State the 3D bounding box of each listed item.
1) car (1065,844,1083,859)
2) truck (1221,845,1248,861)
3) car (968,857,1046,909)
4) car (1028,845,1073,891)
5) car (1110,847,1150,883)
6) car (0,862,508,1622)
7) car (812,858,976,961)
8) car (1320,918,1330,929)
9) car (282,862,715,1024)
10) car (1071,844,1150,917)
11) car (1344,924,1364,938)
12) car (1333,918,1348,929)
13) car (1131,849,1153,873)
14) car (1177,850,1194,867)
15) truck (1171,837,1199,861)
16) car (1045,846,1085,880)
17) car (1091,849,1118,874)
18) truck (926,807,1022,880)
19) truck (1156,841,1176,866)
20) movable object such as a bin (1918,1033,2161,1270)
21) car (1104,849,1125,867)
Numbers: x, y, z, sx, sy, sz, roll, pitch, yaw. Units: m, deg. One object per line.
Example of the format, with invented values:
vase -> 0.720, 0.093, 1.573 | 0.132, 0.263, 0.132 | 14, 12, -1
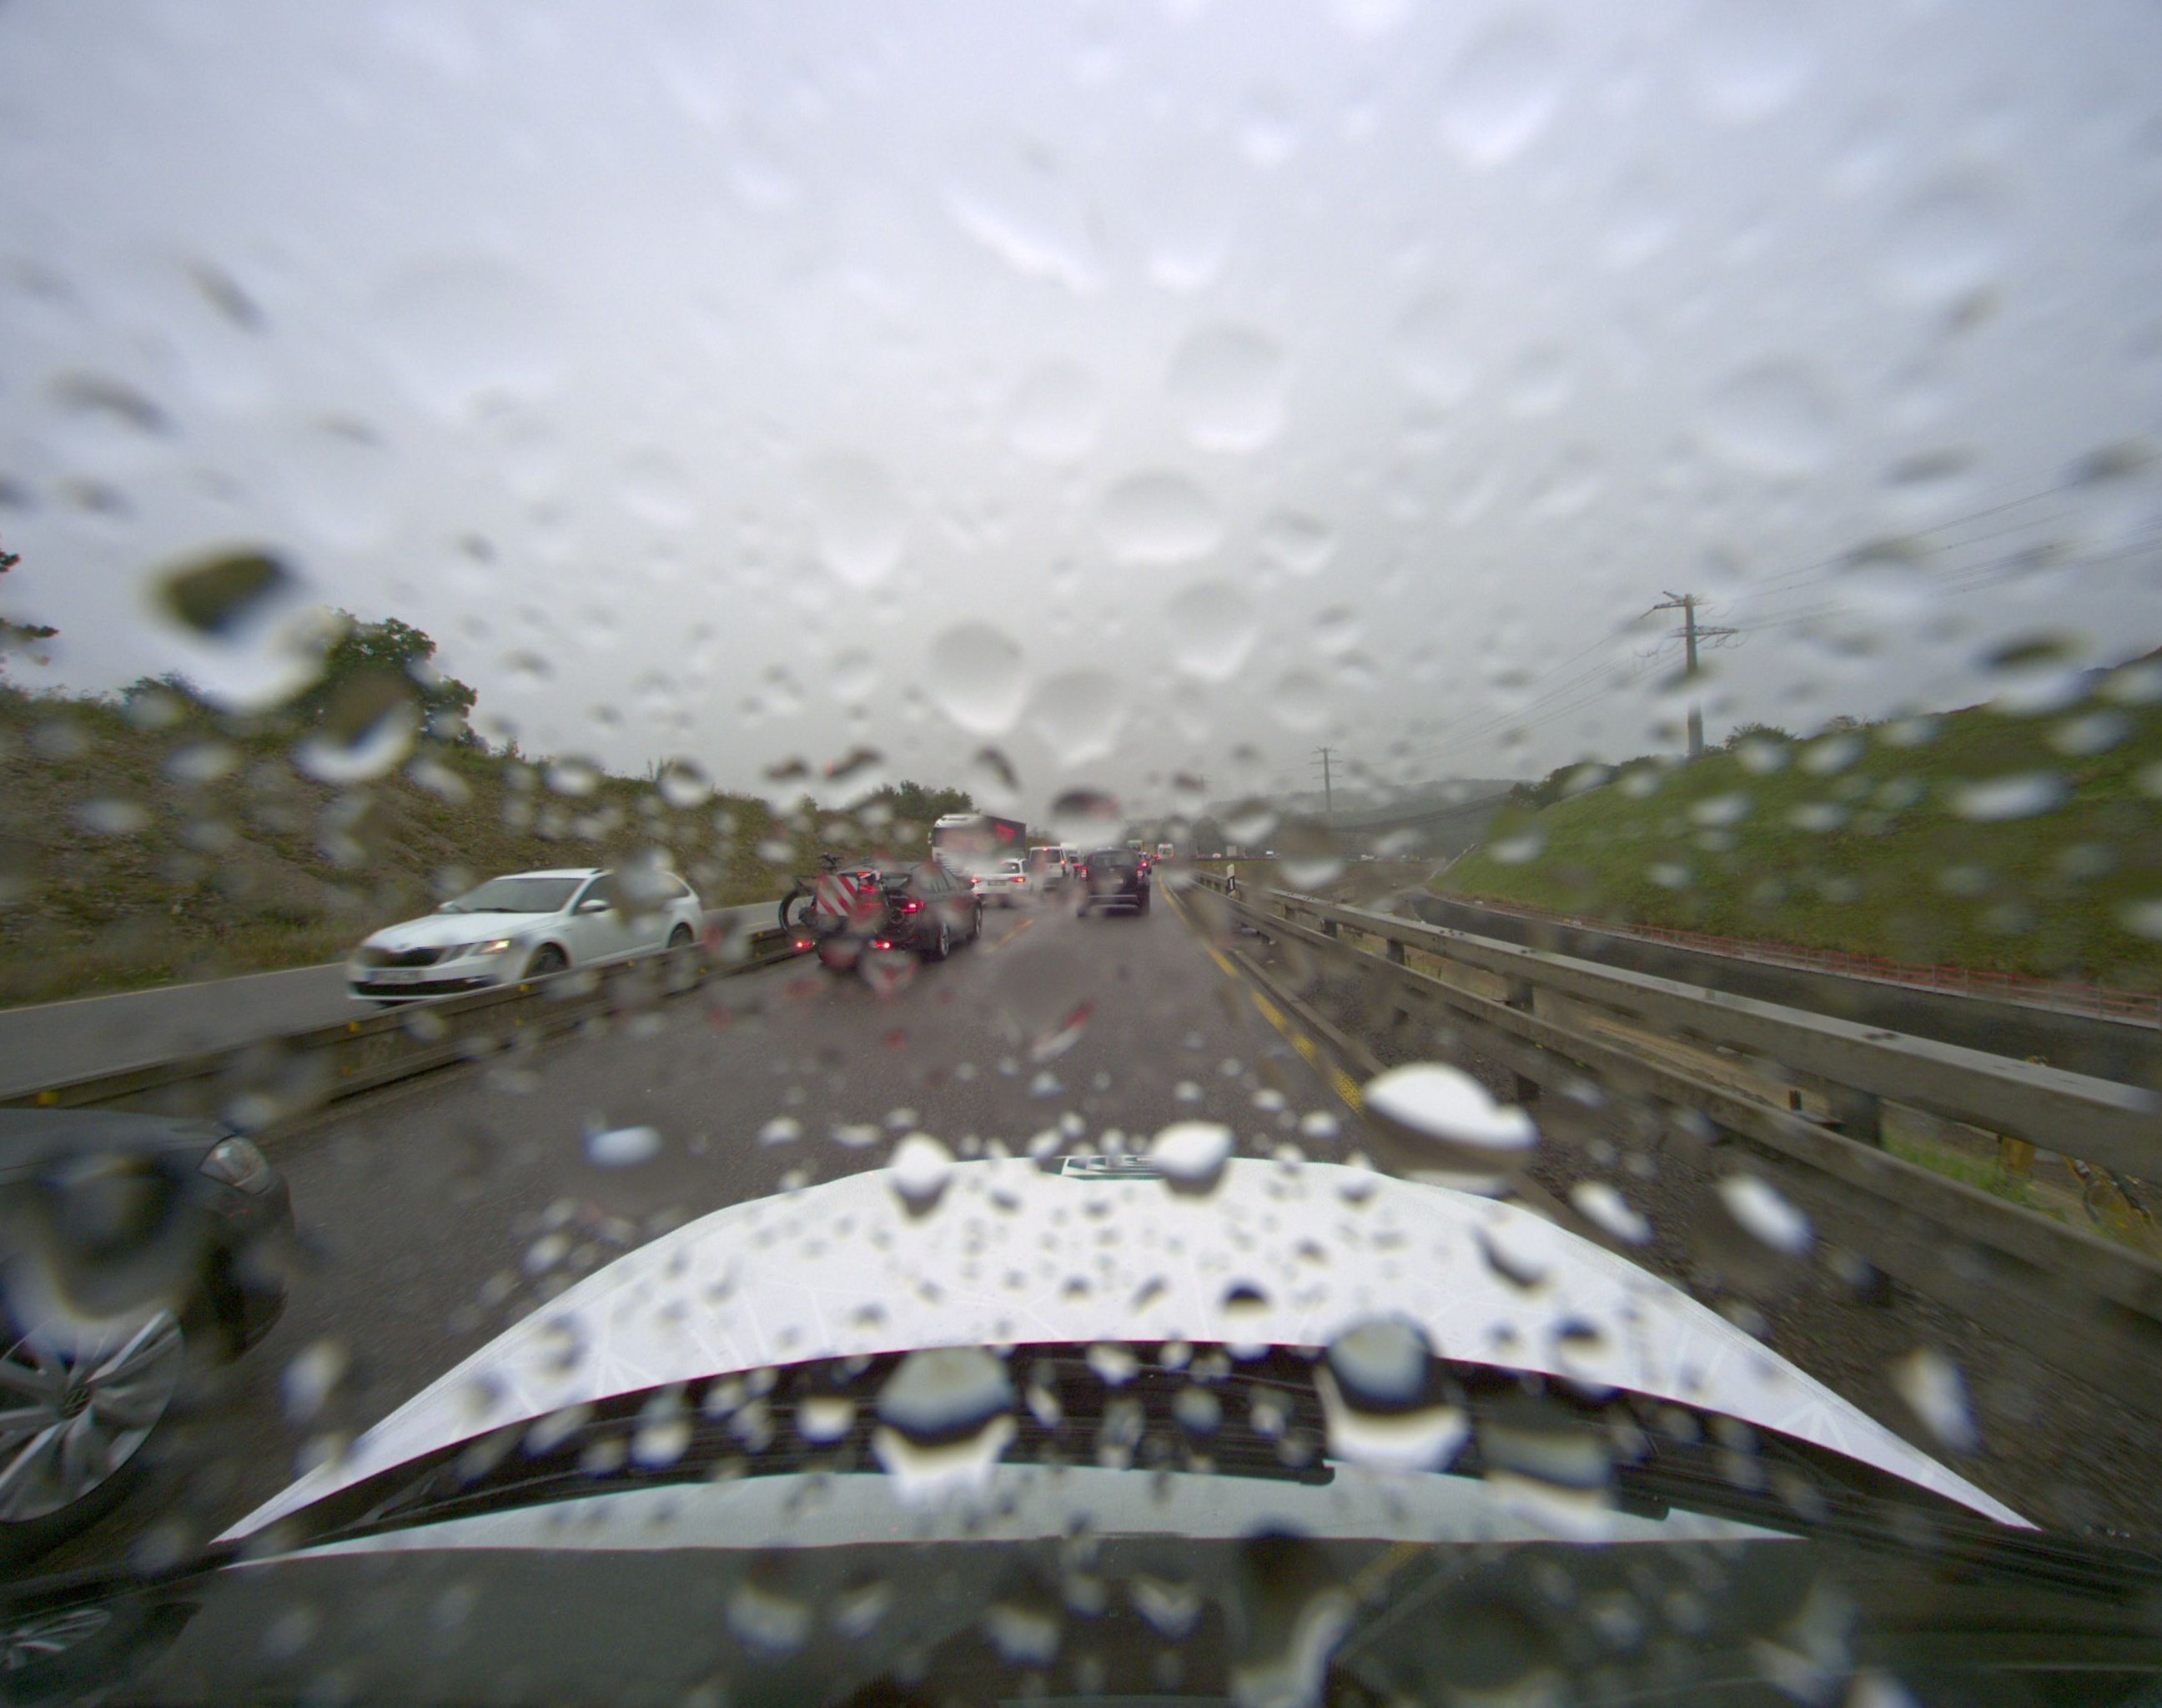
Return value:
car -> -0.778, -0.285, 94.172 | 1.860, 1.581, 4.094 | 0, -2, 3
truck -> 40.644, -0.335, 214.922 | 4.678, 4.150, 15.760 | 0, 0, 20
car -> -2.193, 0.827, 25.350 | 1.860, 1.460, 4.551 | 0, 0, 2
car -> -1.274, 0.564, 35.653 | 1.654, 1.880, 4.022 | 0, 0, 2
car -> 2.370, 0.512, 40.193 | 1.860, 1.708, 4.002 | 0, 0, 2
car -> -3.033, 0.830, 0.848 | 1.608, 1.506, 4.370 | -3, 0, 2
car -> -3.013, 0.825, 13.938 | 1.822, 1.476, 3.777 | -1, 0, 1
car -> 52.625, 14.930, 175.515 | 1.978, 2.013, 4.017 | 0, 0, 16
car -> -6.474, 0.853, 9.890 | 1.860, 1.460, 4.551 | 0, 0, 2
car -> 0.805, 0.605, 20.652 | 1.797, 1.646, 3.780 | -1, 0, 3
car -> 47.054, 13.231, 140.293 | 2.355, 2.013, 4.003 | 0, 0, 3
car -> 50.084, 13.388, 157.450 | 1.984, 1.816, 4.006 | -1, 0, 5
car -> 4.328, 0.464, 58.475 | 1.524, 1.640, 4.017 | 0, 0, 4
car -> 11.384, 0.476, 89.037 | 1.766, 1.916, 4.007 | 0, 0, 6
truck -> 16.775, -0.747, 130.485 | 3.176, 3.761, 8.545 | 0, 0, 16
car -> -0.805, 0.452, 43.919 | 1.860, 1.708, 4.095 | 0, 0, 3
car -> 1.754, 0.573, 59.835 | 1.860, 1.708, 4.093 | -2, -1, 2
truck -> -6.589, -0.627, 53.272 | 2.918, 4.097, 14.414 | 0, 0, 6
truck -> 11.364, -0.079, 108.145 | 2.136, 3.166, 6.477 | 0, 0, 10
movable object such as a bin -> 22.983, 6.570, 18.716 | 3.203, 3.867, 4.123 | 1, 1, 0
car -> 3.290, 0.356, 78.711 | 1.859, 1.708, 4.097 | 0, 0, 5
